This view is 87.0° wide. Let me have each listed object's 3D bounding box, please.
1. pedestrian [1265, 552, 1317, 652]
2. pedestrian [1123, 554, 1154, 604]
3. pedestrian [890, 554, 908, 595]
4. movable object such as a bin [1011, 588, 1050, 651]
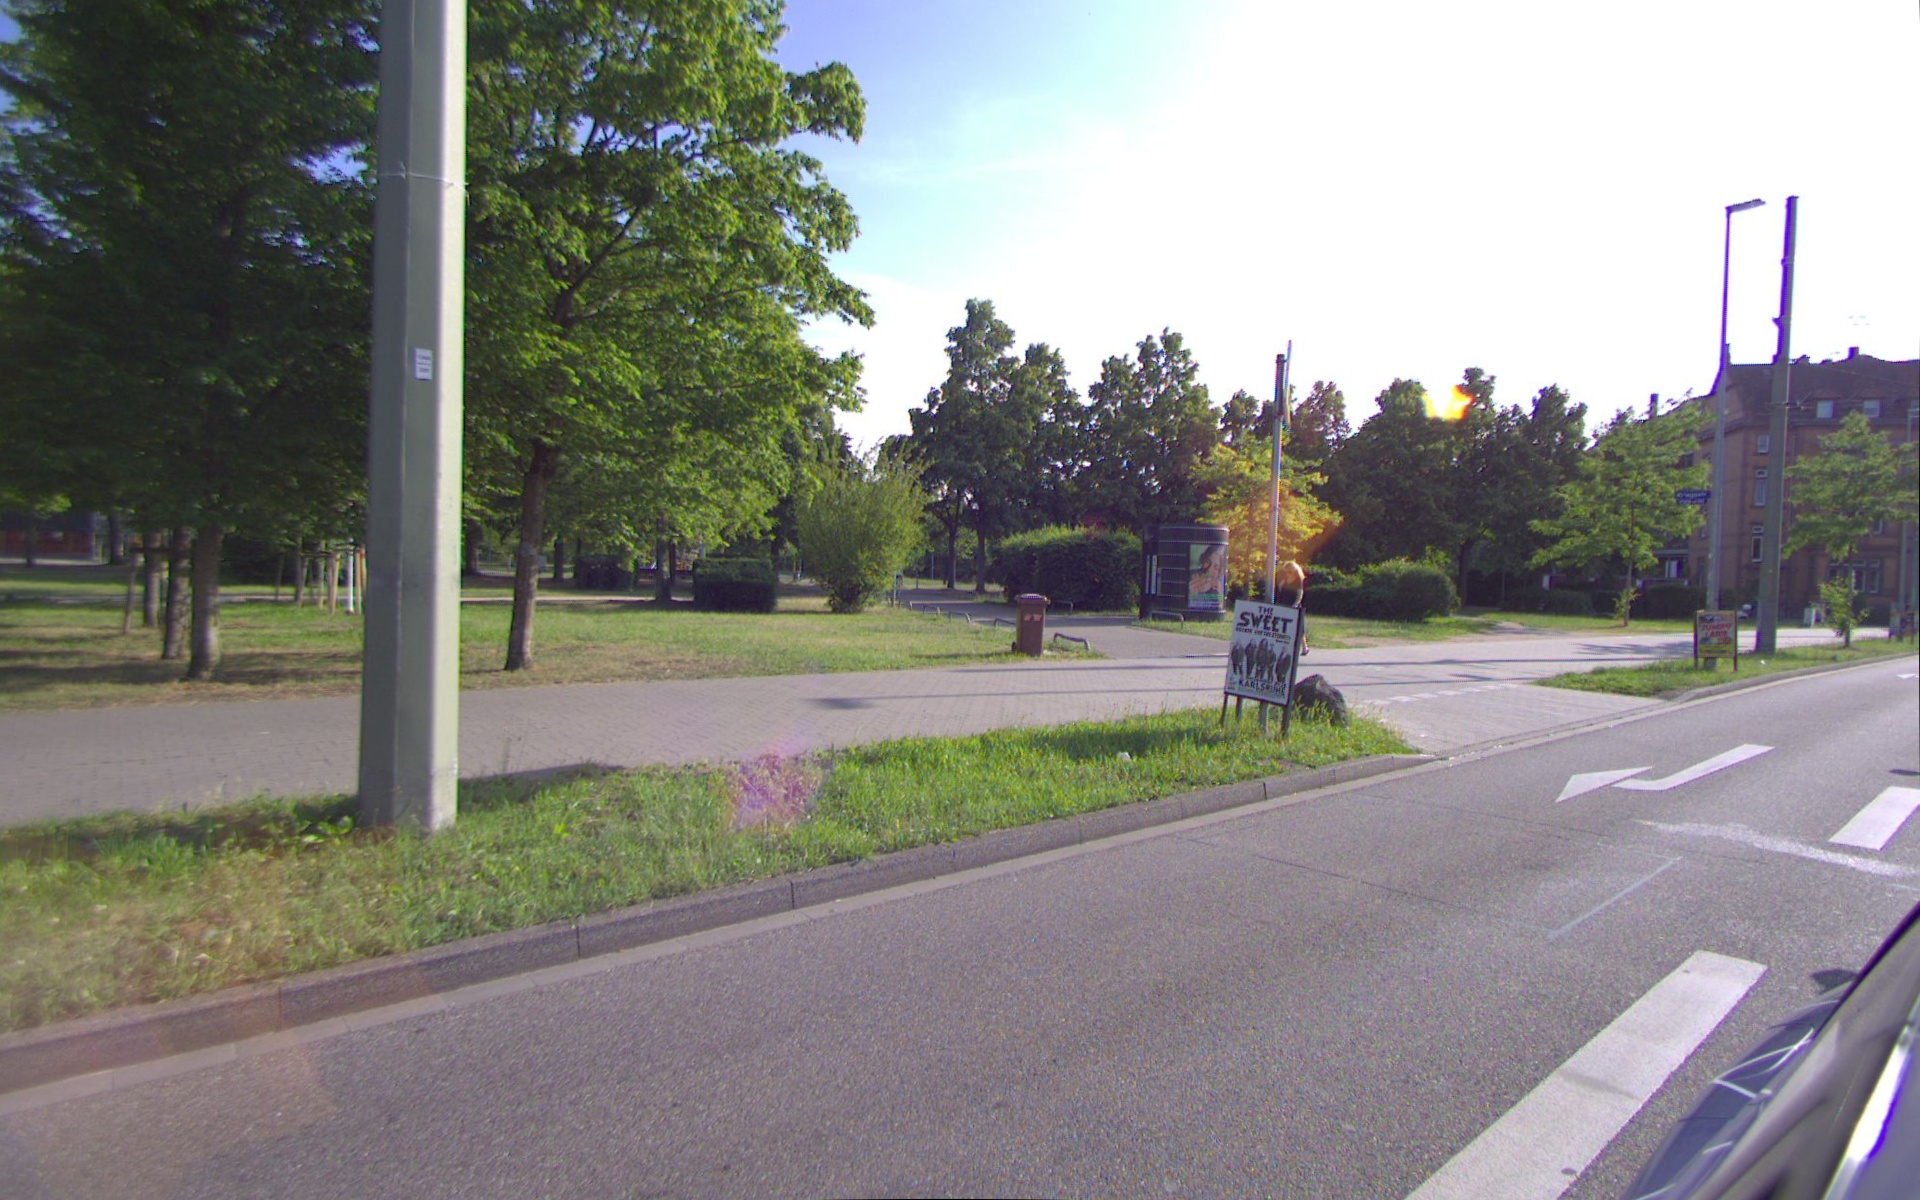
[{"bbox_3d":[5.808,0.025,17.741,0.651,1.722,0.558,1,2,-41],"label":"pedestrian"},{"bbox_3d":[7.908,-0.921,44.829,0.872,2.184,0.914,1,1,-28],"label":"pedestrian"},{"bbox_3d":[-2.568,-1.074,42.670,0.609,1.671,0.664,1,1,-16],"label":"pedestrian"},{"bbox_3d":[1.060,0.288,15.271,0.514,0.915,0.504,2,1,-2],"label":"movable object such as a bin"}]
